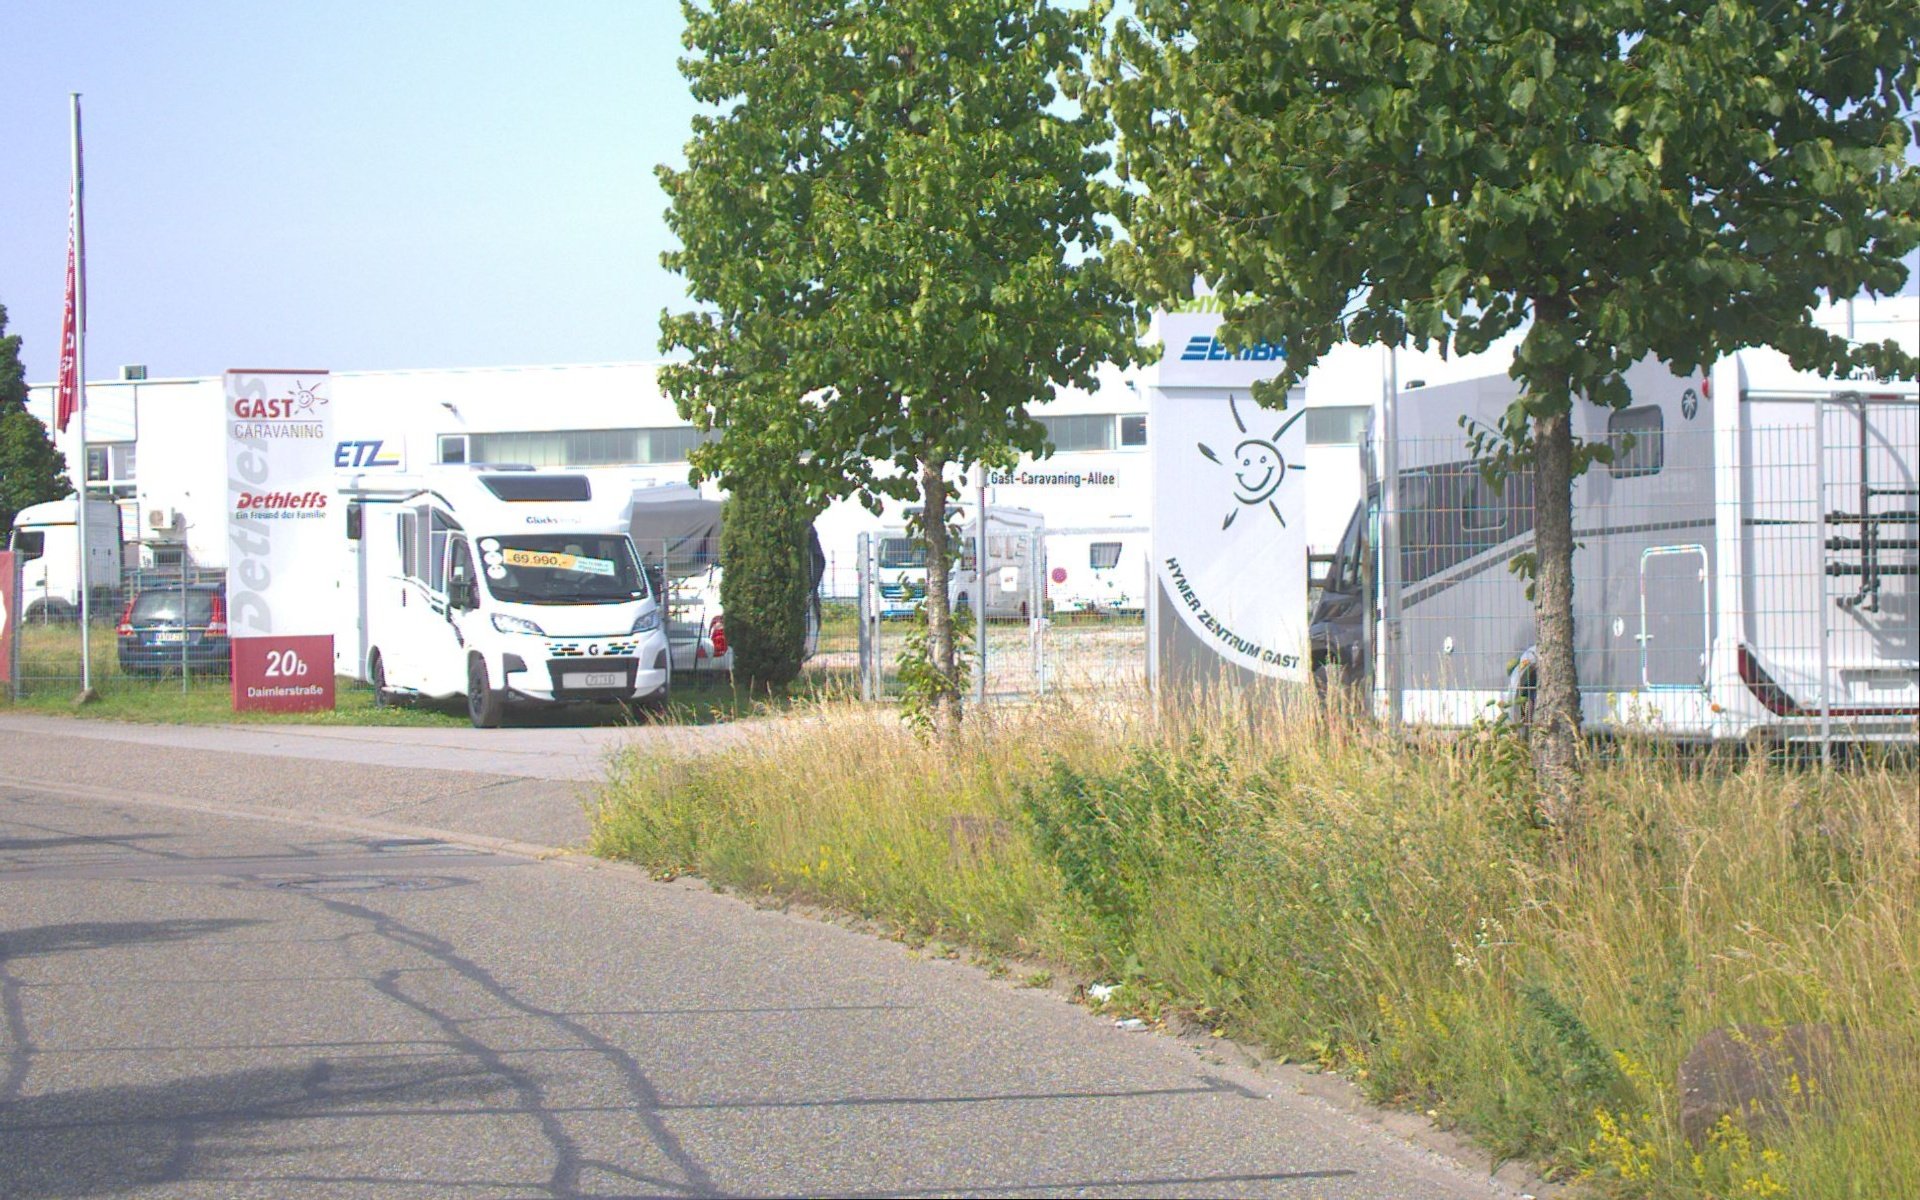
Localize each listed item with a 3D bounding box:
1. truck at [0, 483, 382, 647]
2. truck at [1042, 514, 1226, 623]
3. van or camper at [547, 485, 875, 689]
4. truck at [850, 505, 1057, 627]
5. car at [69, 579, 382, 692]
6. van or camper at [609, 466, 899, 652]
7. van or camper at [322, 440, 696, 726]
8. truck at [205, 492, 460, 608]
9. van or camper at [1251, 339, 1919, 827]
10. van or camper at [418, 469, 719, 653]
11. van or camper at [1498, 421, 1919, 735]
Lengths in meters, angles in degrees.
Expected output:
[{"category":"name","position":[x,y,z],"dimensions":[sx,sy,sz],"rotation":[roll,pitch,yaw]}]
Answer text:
[{"category":"truck","position":[-19.186,-0.862,85.198],"dimensions":[9.288,3.959,2.457],"rotation":[0,1,12]},{"category":"truck","position":[3.921,-0.718,75.538],"dimensions":[2.452,2.257,7.997],"rotation":[0,1,15]},{"category":"van or camper","position":[-3.237,-0.237,46.585],"dimensions":[2.484,2.550,6.622],"rotation":[0,1,14]},{"category":"truck","position":[-0.035,-0.759,73.806],"dimensions":[2.452,2.463,7.997],"rotation":[0,1,15]},{"category":"car","position":[-10.208,0.463,48.020],"dimensions":[2.169,1.471,3.994],"rotation":[0,1,29]},{"category":"van or camper","position":[-3.505,-0.768,61.002],"dimensions":[2.951,3.073,7.965],"rotation":[0,1,13]},{"category":"van or camper","position":[-5.258,-0.226,38.949],"dimensions":[2.330,2.933,6.973],"rotation":[-1,1,-23]},{"category":"truck","position":[-13.973,-1.134,77.303],"dimensions":[2.452,2.463,7.997],"rotation":[0,1,15]},{"category":"van or camper","position":[4.487,-0.130,23.859],"dimensions":[2.348,2.838,7.344],"rotation":[0,0,-17]},{"category":"van or camper","position":[-6.883,-0.740,61.808],"dimensions":[2.800,3.073,7.965],"rotation":[0,1,13]},{"category":"van or camper","position":[9.117,-0.227,34.557],"dimensions":[7.261,3.021,2.584],"rotation":[0,0,8]}]
